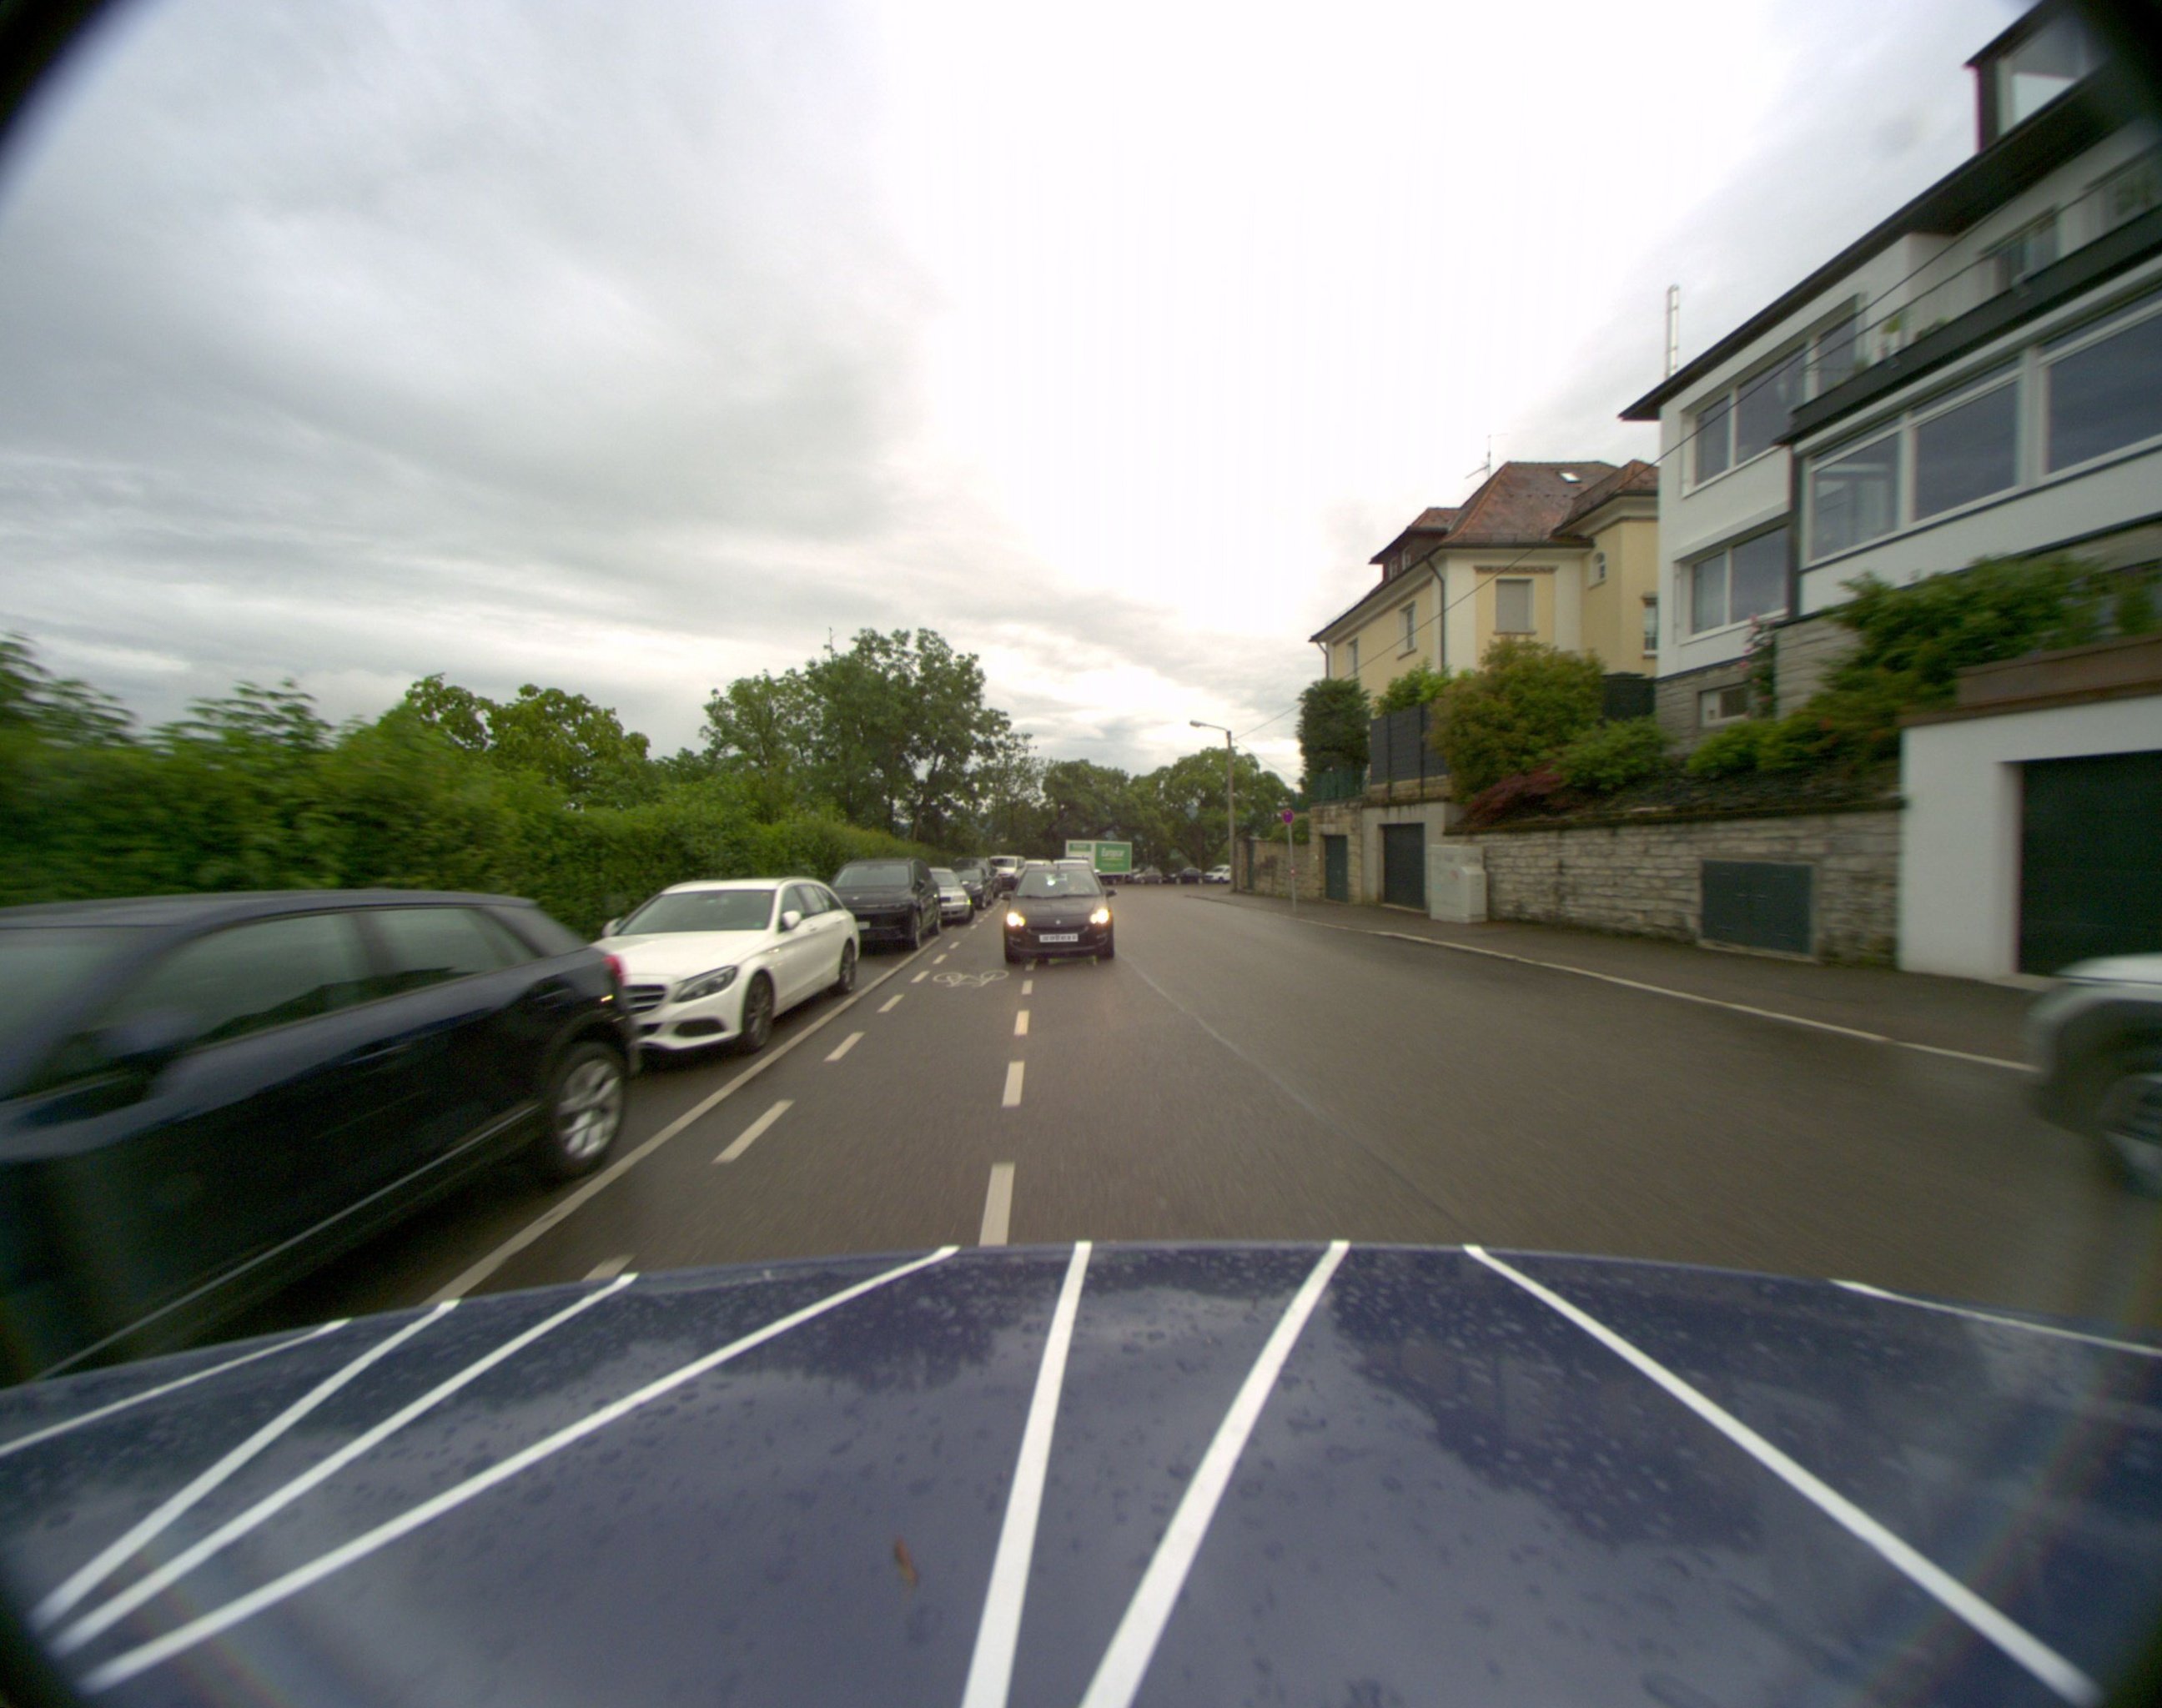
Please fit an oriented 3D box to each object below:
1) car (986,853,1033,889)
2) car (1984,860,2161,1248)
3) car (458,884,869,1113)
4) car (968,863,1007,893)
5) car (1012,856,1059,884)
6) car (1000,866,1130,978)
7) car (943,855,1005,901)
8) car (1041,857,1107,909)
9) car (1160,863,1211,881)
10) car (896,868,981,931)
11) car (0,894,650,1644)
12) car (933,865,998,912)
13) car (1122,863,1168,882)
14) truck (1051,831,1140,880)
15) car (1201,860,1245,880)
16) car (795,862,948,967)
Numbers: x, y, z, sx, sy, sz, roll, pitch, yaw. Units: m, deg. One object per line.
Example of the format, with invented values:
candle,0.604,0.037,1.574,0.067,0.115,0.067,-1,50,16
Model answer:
car,-4.096,0.956,44.206,1.864,1.936,4.810,0,0,5
car,5.380,0.796,1.579,1.903,1.558,4.237,-1,0,-2
car,-3.584,1.109,7.679,1.718,1.397,4.607,-2,0,-2
car,-4.644,1.170,38.175,1.676,1.405,3.741,-1,-1,-3
car,-2.922,1.026,50.012,1.862,1.760,4.384,-1,-1,14
car,-0.340,0.989,12.941,1.784,1.477,4.404,-2,0,-3
car,-4.432,0.971,32.274,2.032,1.772,4.898,-1,-1,-1
car,-0.186,0.990,28.231,2.191,1.698,4.883,-2,0,1
car,9.618,1.672,69.823,4.906,1.533,1.860,2,0,-42
car,-3.926,1.122,20.406,1.806,1.431,4.636,-2,0,-16
car,-3.340,1.033,2.288,1.758,1.521,4.205,-2,0,-2
car,-3.997,1.158,26.864,1.693,1.414,3.982,-1,0,-1
car,5.578,1.596,65.846,1.734,1.494,4.145,2,0,41
truck,1.336,0.144,59.574,2.774,3.450,8.952,2,0,31
car,13.820,1.591,73.706,4.433,1.810,1.747,2,1,-41
car,-3.894,1.026,14.972,1.892,1.653,4.547,-3,0,-3
